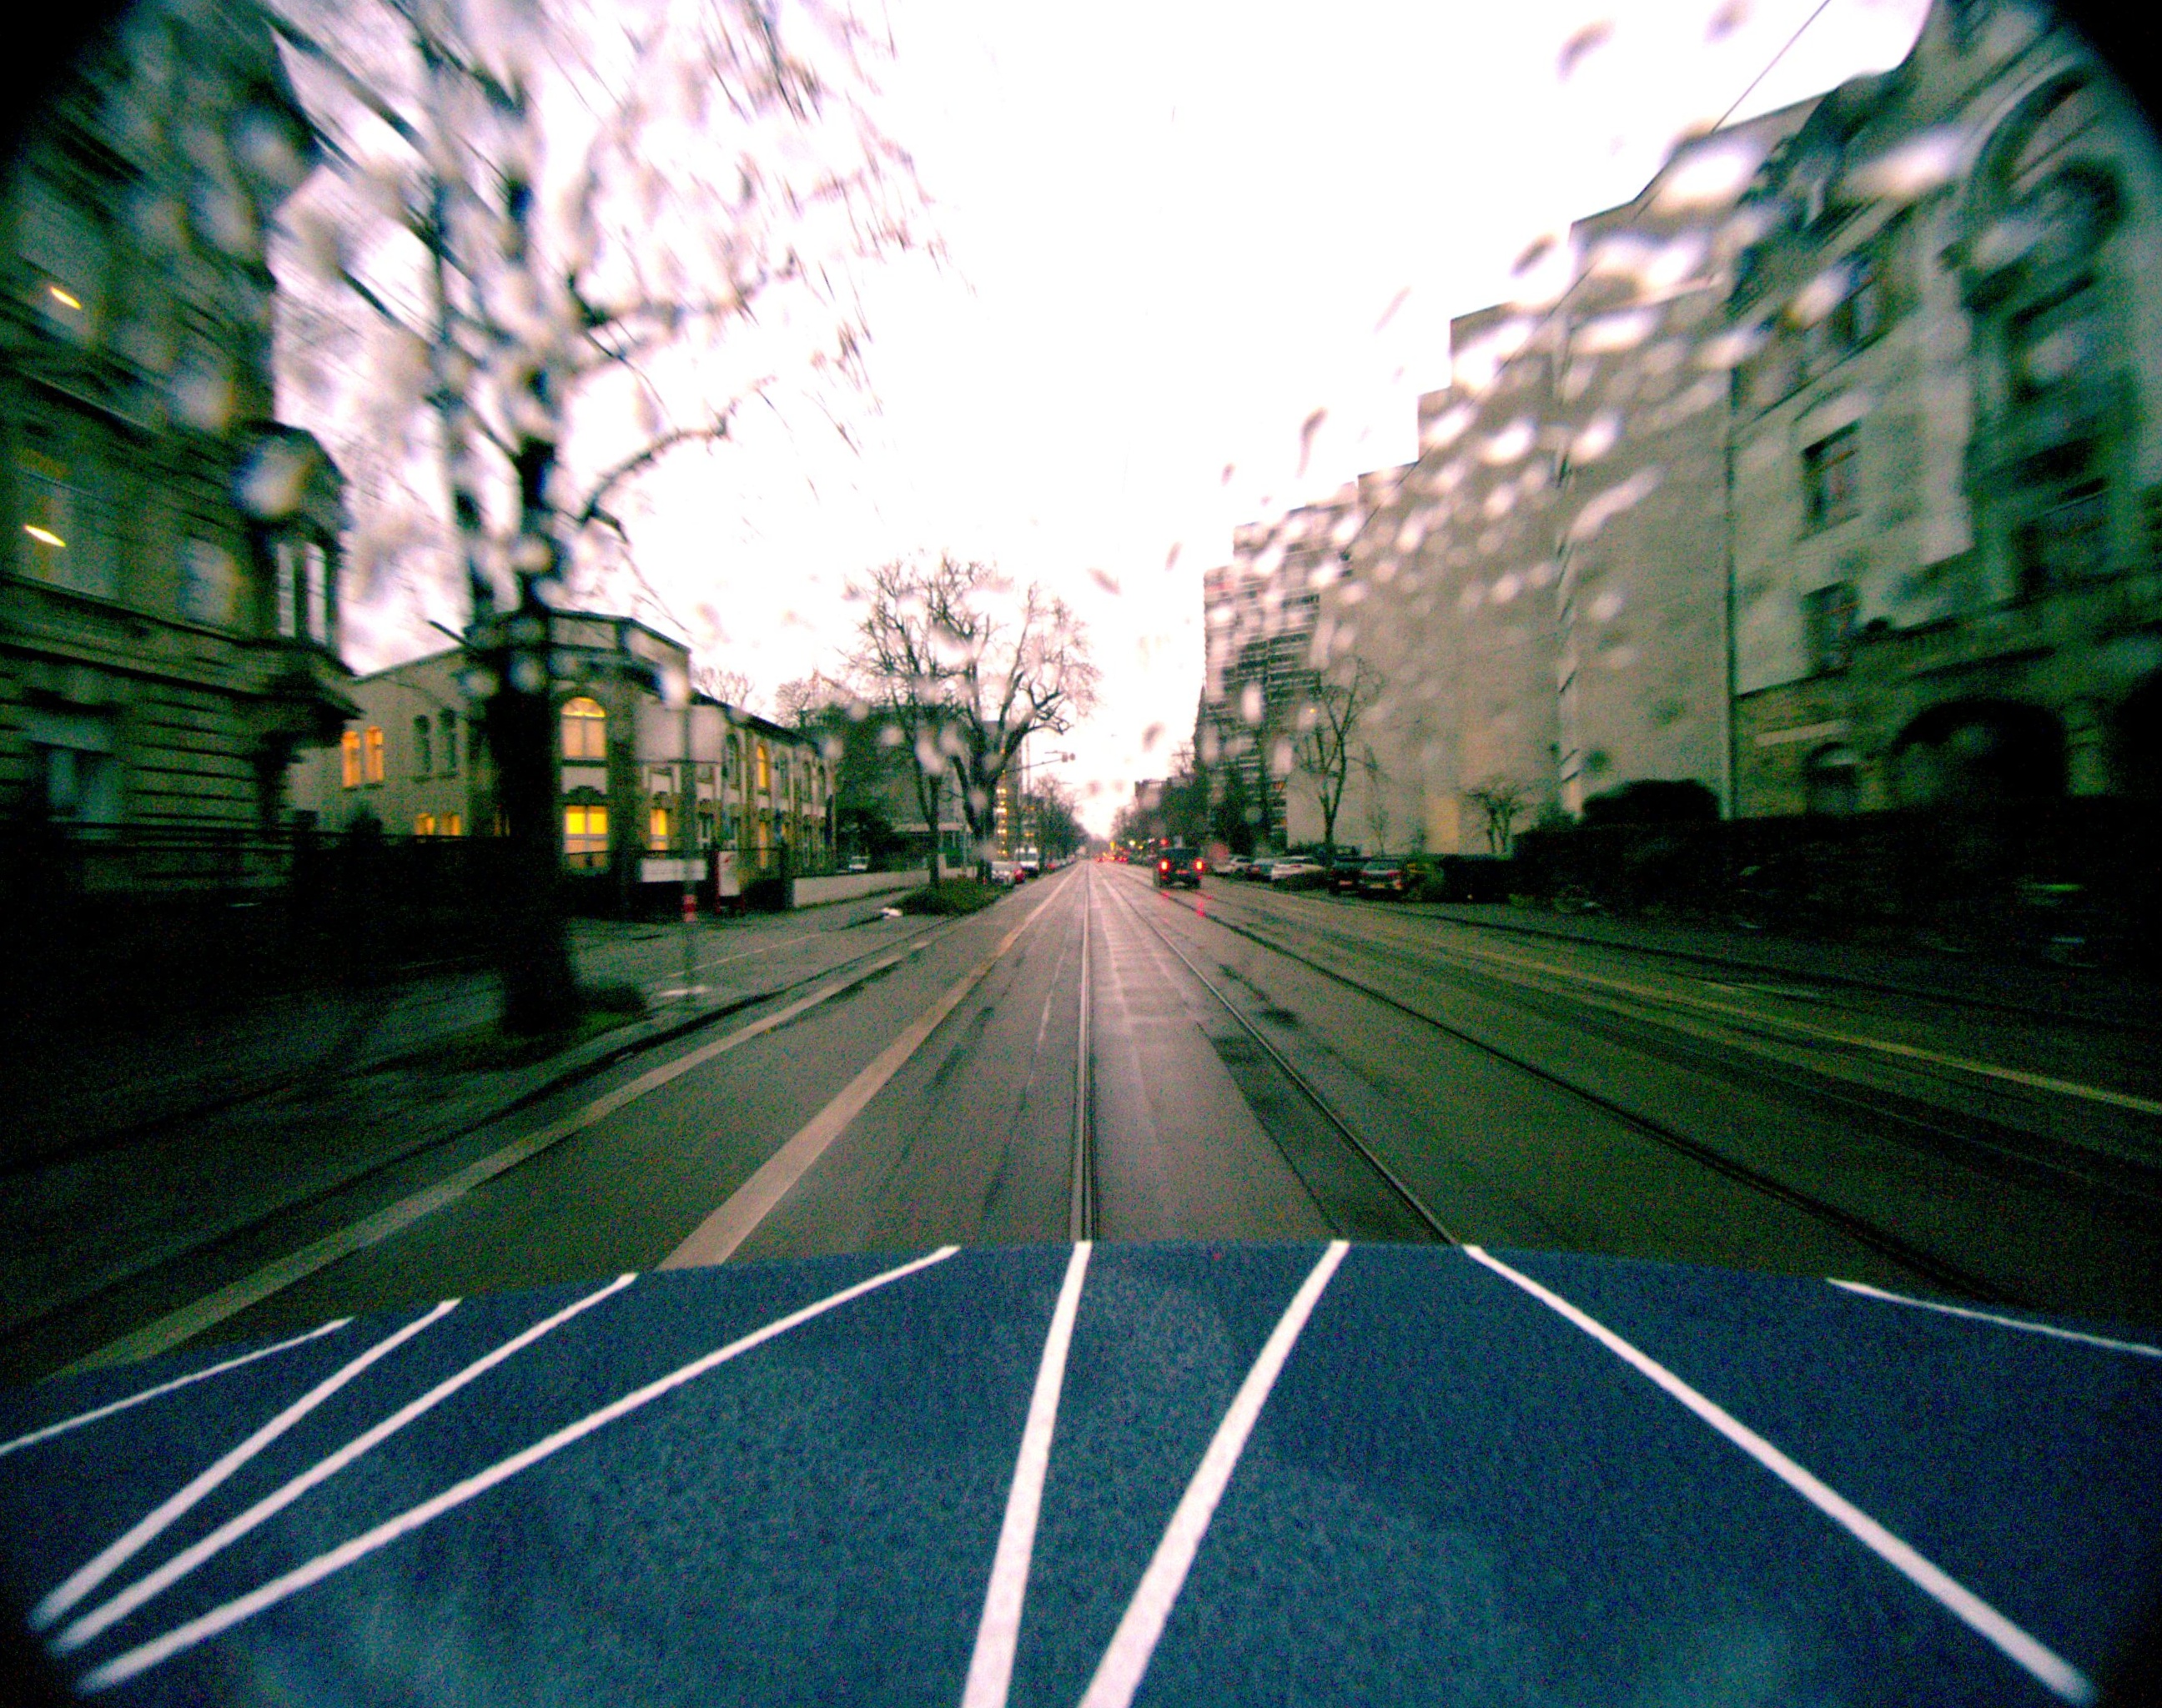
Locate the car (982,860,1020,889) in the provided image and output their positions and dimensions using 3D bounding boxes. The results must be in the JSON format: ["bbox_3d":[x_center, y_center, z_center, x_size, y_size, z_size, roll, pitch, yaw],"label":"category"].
[{"bbox_3d":[-4.366,1.082,41.927,1.696,1.511,3.637,-1,0,0],"label":"car"}]

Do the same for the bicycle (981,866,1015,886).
[{"bbox_3d":[-4.333,1.145,39.650,1.717,1.064,0.663,-1,0,1],"label":"bicycle"}]

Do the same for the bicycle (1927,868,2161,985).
[{"bbox_3d":[11.043,0.768,8.765,0.694,1.205,1.595,-1,0,-9],"label":"bicycle"}]

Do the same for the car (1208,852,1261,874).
[{"bbox_3d":[11.303,0.654,55.864,4.008,1.554,1.732,0,-1,-41],"label":"car"}]

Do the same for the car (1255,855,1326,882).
[{"bbox_3d":[11.958,0.778,43.305,4.007,1.455,1.732,0,1,-34],"label":"car"}]

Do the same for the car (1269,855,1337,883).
[{"bbox_3d":[11.598,0.765,39.582,3.861,1.415,1.732,0,-1,-45],"label":"car"}]

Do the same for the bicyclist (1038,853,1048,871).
[{"bbox_3d":[-3.542,0.714,71.084,0.772,1.679,0.706,-1,0,-16],"label":"bicyclist"}]

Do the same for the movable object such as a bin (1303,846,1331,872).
[{"bbox_3d":[16.944,0.346,54.672,1.573,1.849,1.394,-1,-1,2],"label":"movable object such as a bin"}]

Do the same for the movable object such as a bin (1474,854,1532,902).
[{"bbox_3d":[12.951,0.729,23.352,1.093,1.442,1.110,0,0,-21],"label":"movable object such as a bin"}]

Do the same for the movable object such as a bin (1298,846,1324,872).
[{"bbox_3d":[16.972,0.359,56.070,1.573,1.849,1.318,-1,-1,2],"label":"movable object such as a bin"}]

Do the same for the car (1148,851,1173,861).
[{"bbox_3d":[13.209,0.327,125.902,3.995,1.477,1.673,-1,0,6],"label":"car"}]

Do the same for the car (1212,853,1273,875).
[{"bbox_3d":[11.184,0.662,52.489,4.007,1.435,1.732,0,1,-32],"label":"car"}]

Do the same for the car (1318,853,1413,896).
[{"bbox_3d":[10.889,0.741,28.976,4.008,1.462,1.826,-1,0,-44],"label":"car"}]

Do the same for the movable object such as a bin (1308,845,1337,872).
[{"bbox_3d":[16.899,0.294,53.231,1.573,1.849,1.318,-1,-1,2],"label":"movable object such as a bin"}]

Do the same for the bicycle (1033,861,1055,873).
[{"bbox_3d":[-3.465,1.235,71.110,1.895,1.126,0.730,0,0,-15],"label":"bicycle"}]

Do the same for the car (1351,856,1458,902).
[{"bbox_3d":[11.156,0.808,26.079,4.008,1.419,1.843,0,-1,-42],"label":"car"}]

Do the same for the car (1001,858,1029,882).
[{"bbox_3d":[-4.409,1.038,50.880,1.647,1.514,3.572,-2,0,-2],"label":"car"}]

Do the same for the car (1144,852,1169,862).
[{"bbox_3d":[12.230,0.492,123.234,3.995,1.477,1.673,-1,0,6],"label":"car"}]

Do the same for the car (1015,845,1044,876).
[{"bbox_3d":[-4.217,0.530,62.576,2.130,2.472,5.438,-1,0,-2],"label":"car"}]

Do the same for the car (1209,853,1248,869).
[{"bbox_3d":[13.549,0.621,69.698,3.458,1.484,1.725,0,-1,-41],"label":"car"}]

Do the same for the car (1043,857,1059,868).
[{"bbox_3d":[-3.752,1.037,96.408,1.753,1.379,3.737,-1,-1,2],"label":"car"}]

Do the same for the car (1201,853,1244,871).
[{"bbox_3d":[12.263,0.683,65.748,3.862,1.484,1.691,0,-1,-43],"label":"car"}]

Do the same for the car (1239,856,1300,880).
[{"bbox_3d":[11.495,0.809,46.139,1.745,1.344,4.357,1,0,43],"label":"car"}]

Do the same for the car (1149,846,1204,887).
[{"bbox_3d":[4.747,0.599,38.433,2.051,1.911,5.099,-1,-1,-1],"label":"car"}]

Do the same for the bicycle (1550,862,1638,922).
[{"bbox_3d":[10.874,0.785,16.169,0.694,1.205,1.596,-1,0,-4],"label":"bicycle"}]

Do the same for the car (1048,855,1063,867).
[{"bbox_3d":[-3.492,1.004,105.029,1.753,1.575,3.737,-1,0,2],"label":"car"}]

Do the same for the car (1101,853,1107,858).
[{"bbox_3d":[7.156,0.580,237.400,1.752,1.535,4.295,-1,-1,-1],"label":"car"}]

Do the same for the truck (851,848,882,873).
[{"bbox_3d":[-23.160,0.666,82.268,2.132,2.573,7.075,-1,1,-6],"label":"truck"}]

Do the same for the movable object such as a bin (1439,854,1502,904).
[{"bbox_3d":[11.650,0.743,22.768,1.268,1.442,1.110,0,0,-21],"label":"movable object such as a bin"}]

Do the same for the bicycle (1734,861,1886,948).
[{"bbox_3d":[10.900,0.711,11.443,0.631,1.205,1.595,-1,0,-9],"label":"bicycle"}]
